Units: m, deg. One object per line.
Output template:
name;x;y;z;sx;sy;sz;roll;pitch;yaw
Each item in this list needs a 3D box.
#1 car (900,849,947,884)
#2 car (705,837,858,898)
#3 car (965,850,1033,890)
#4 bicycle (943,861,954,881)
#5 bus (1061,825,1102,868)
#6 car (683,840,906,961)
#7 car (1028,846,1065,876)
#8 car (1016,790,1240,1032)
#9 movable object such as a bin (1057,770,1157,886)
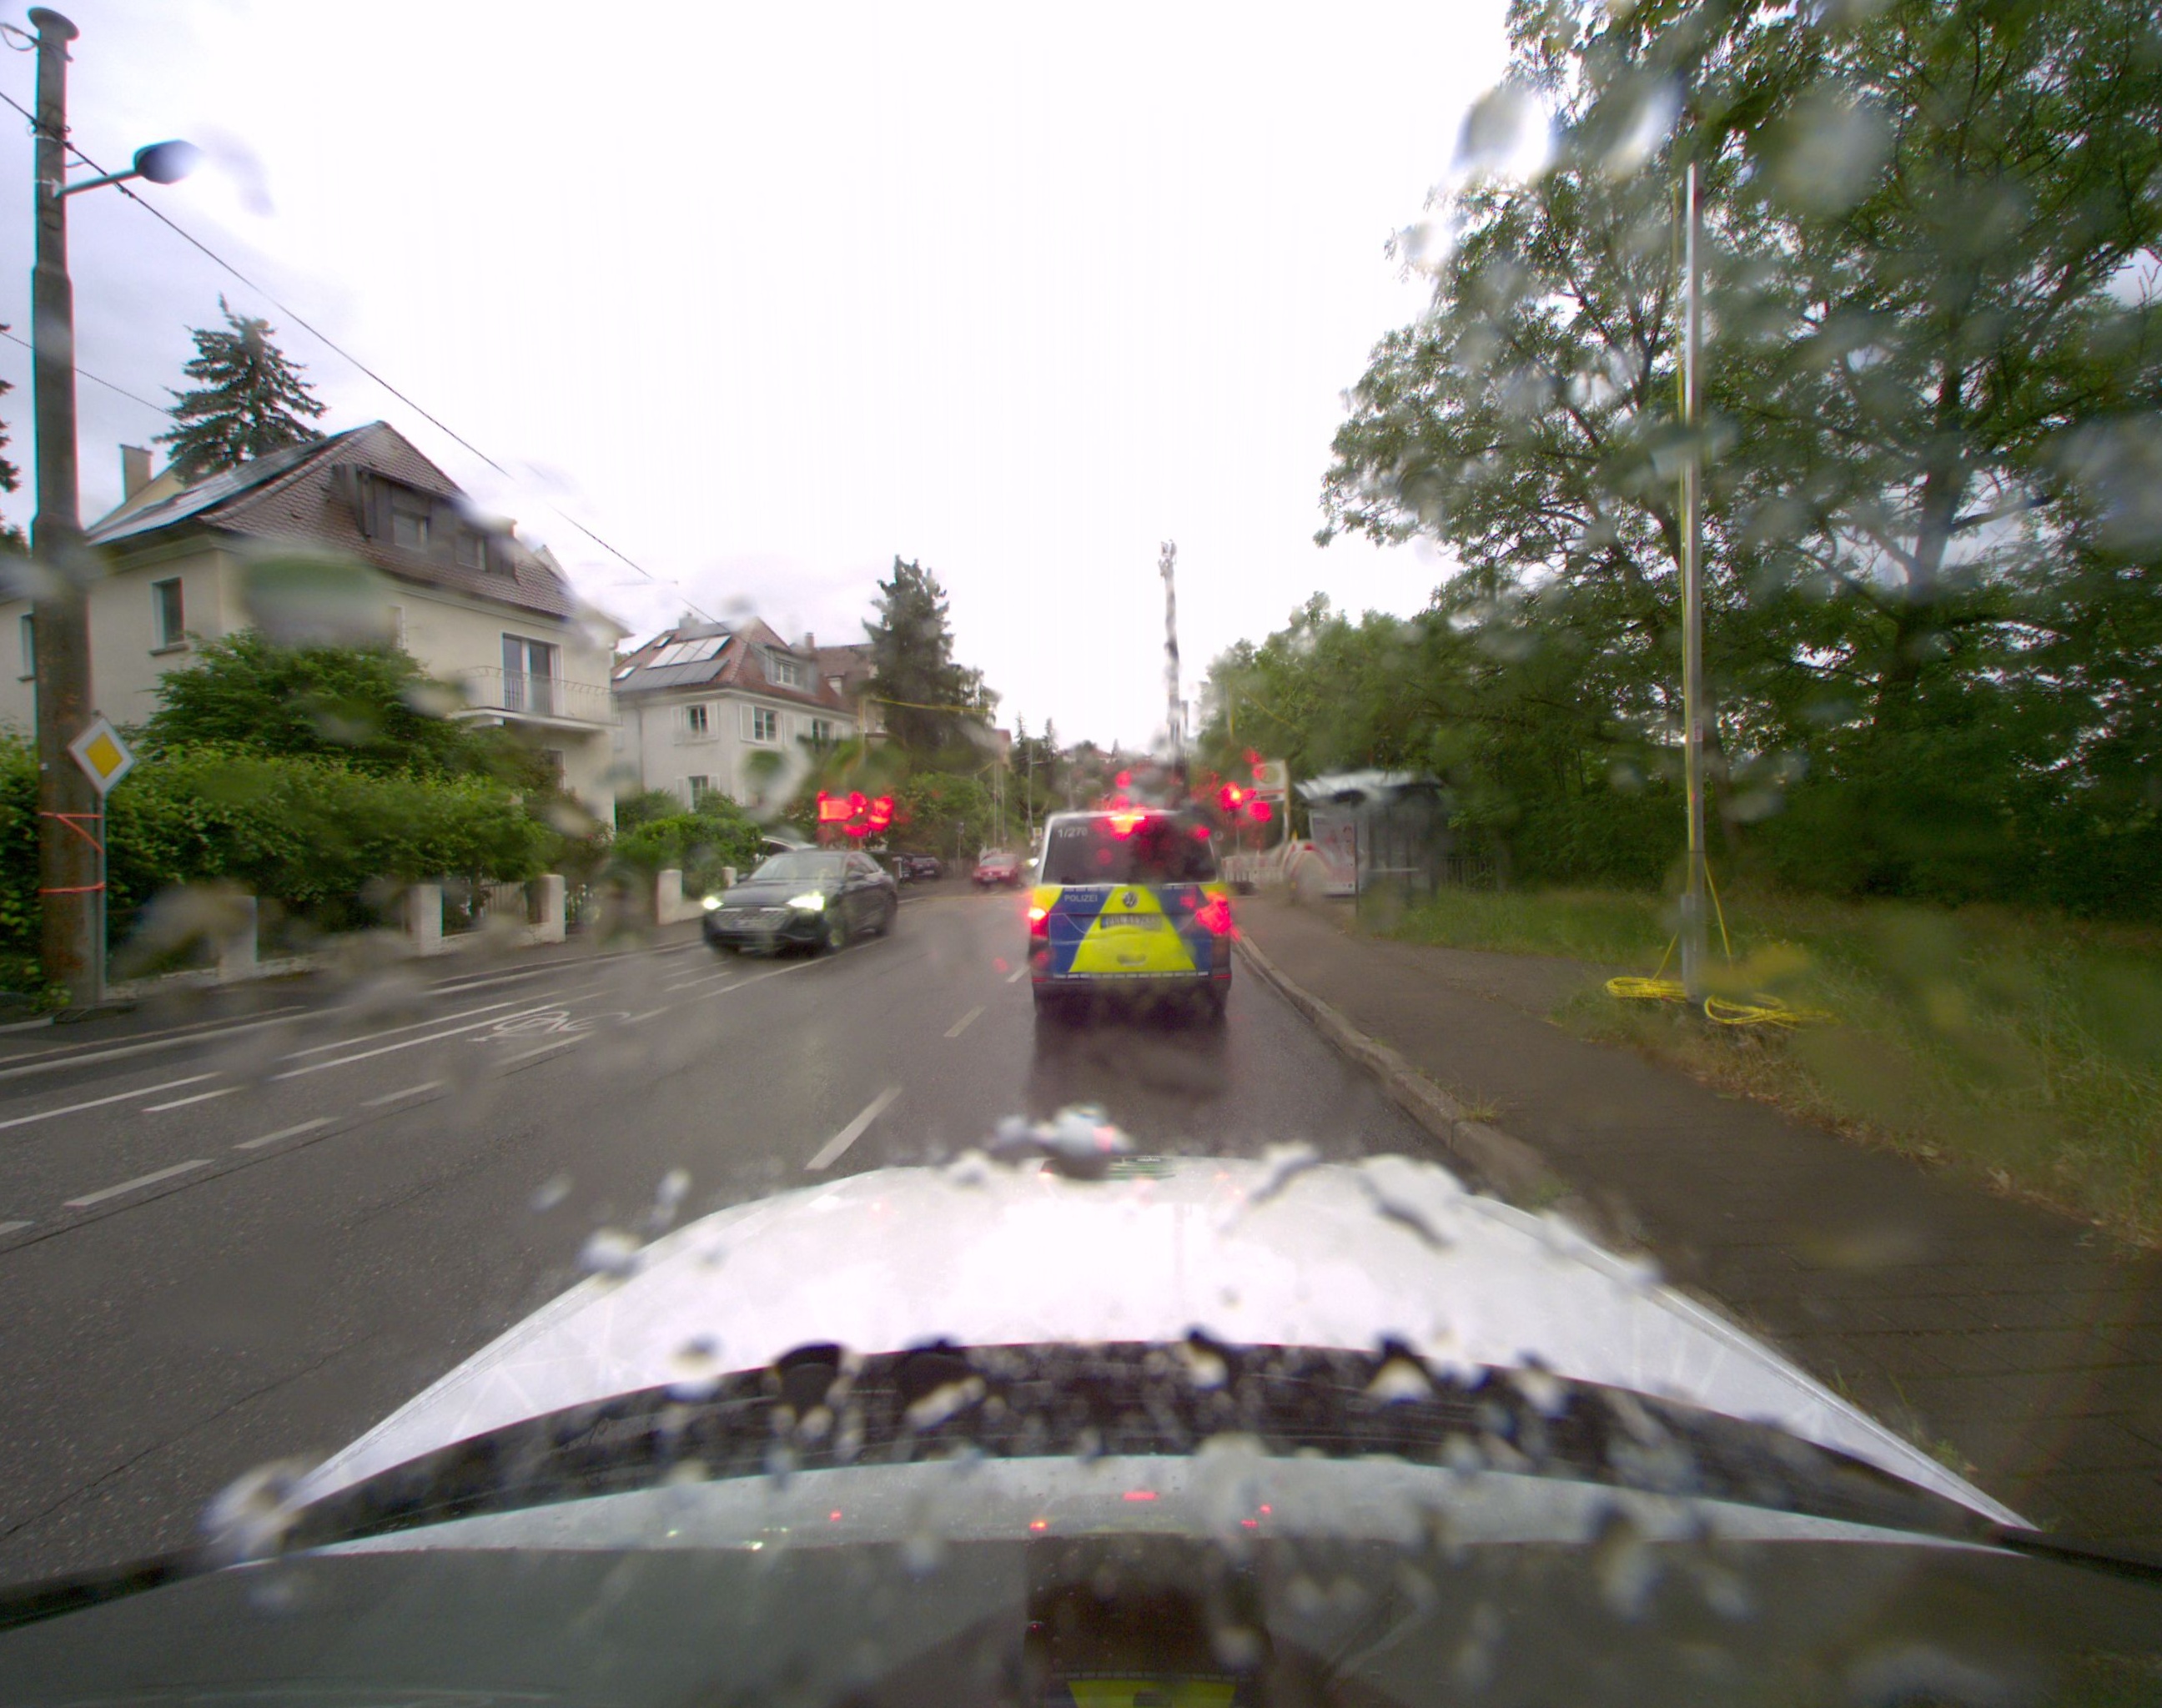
car;-7.449;0.553;38.296;1.770;1.486;3.720;0;1;-17
car;-10.276;0.456;28.053;4.599;2.007;1.907;0;0;13
car;-3.210;0.599;32.536;1.754;1.463;3.896;0;0;9
bicycle;-6.495;0.823;39.886;0.463;0.897;1.627;-1;0;-12
bus;0.210;-0.646;76.812;2.827;3.718;12.022;0;0;5
car;-4.601;0.674;13.975;1.986;1.674;4.690;-2;0;2
car;-2.035;0.401;49.372;1.972;1.748;4.554;0;0;1
car;0.464;0.482;8.937;1.886;2.050;4.002;0;0;2
movable object such as a bin;1.111;-0.932;31.767;2.809;4.177;4.400;0;0;17
